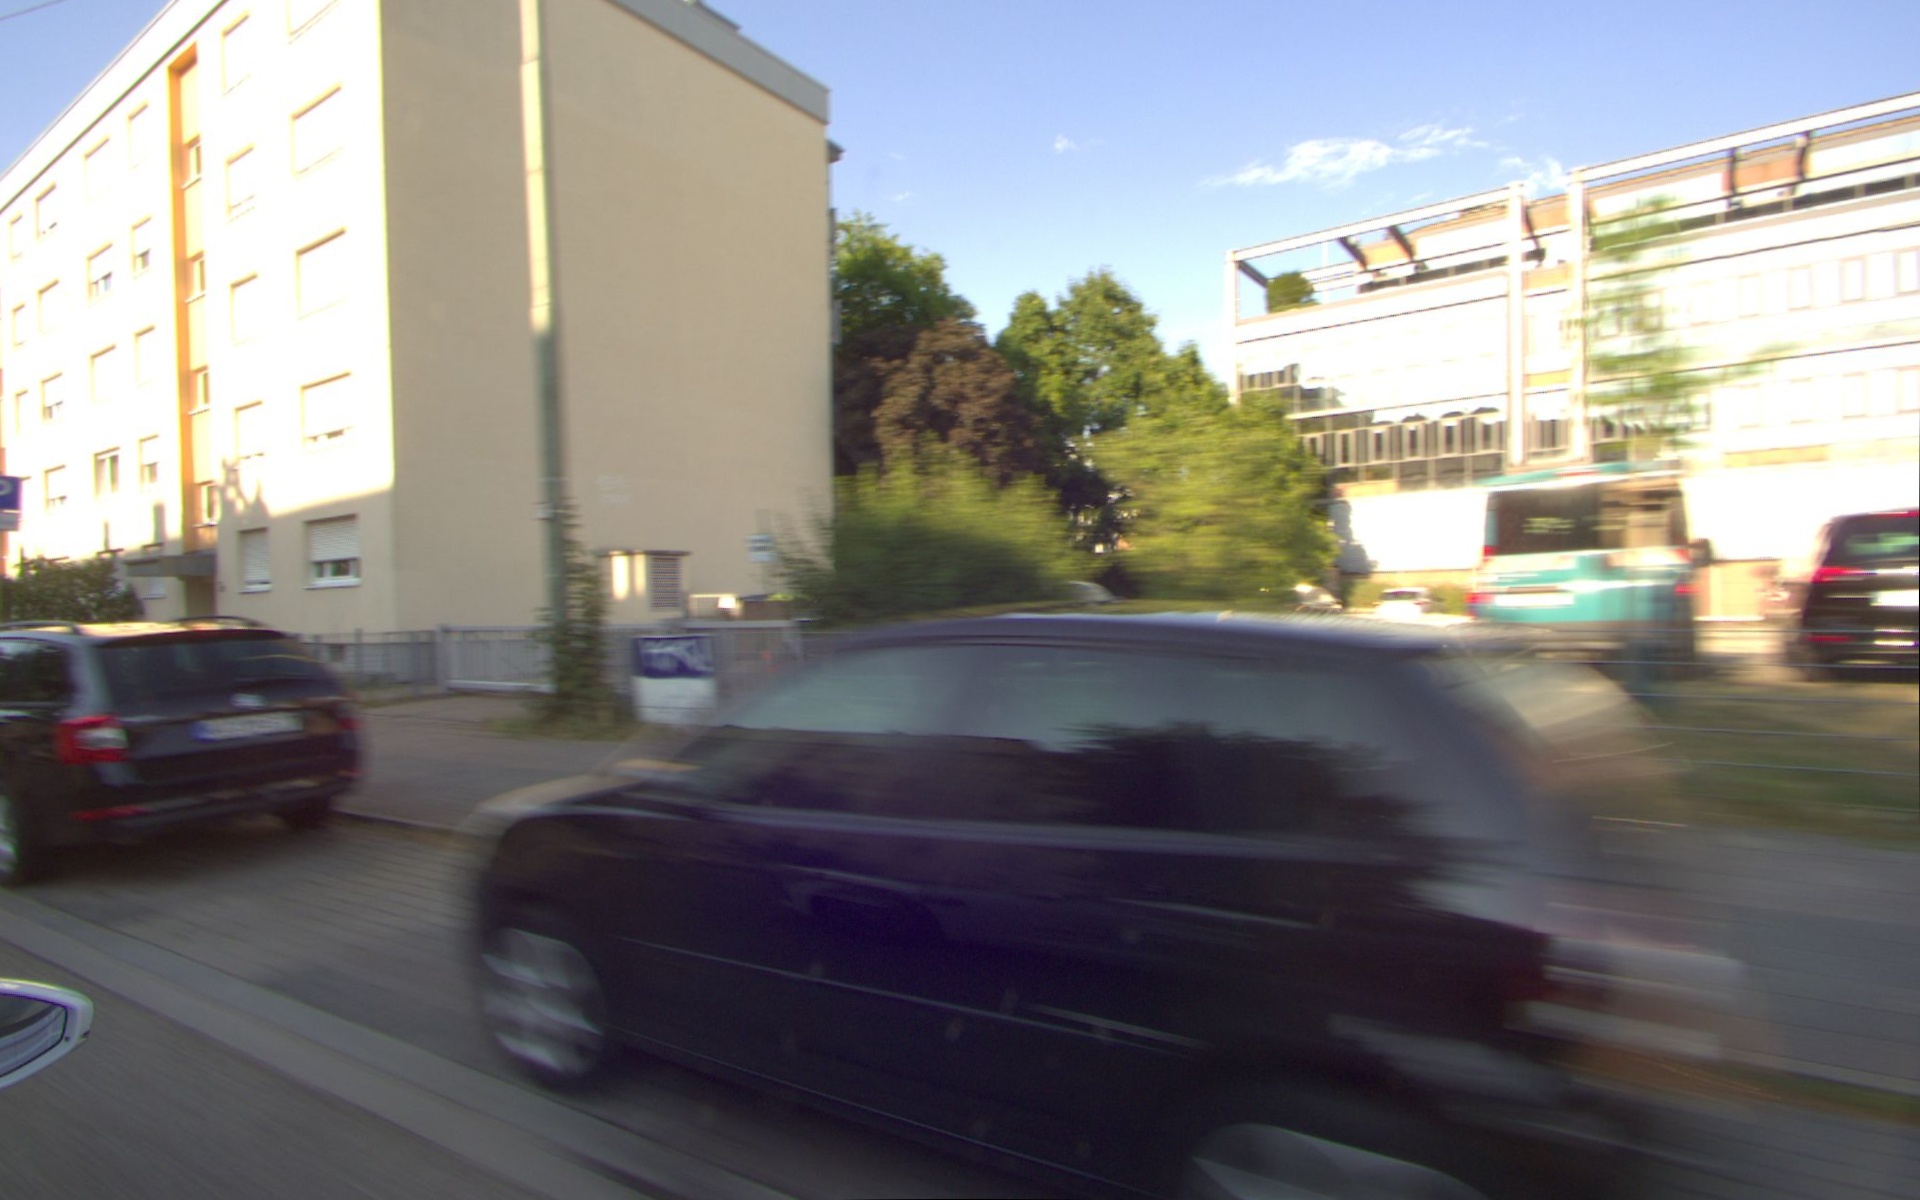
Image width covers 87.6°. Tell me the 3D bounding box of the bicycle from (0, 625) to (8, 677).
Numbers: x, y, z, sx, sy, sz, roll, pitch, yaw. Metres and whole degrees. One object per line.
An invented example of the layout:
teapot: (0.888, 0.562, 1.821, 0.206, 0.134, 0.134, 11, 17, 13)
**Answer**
bicycle: (-22.538, 1.186, 23.233, 1.223, 1.207, 0.332, -2, -2, 32)

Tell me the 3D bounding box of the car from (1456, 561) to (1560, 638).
car: (13.121, 0.073, 23.846, 1.709, 1.622, 4.466, -2, -3, 34)

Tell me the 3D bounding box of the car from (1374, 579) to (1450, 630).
car: (16.167, 0.230, 35.715, 1.709, 1.622, 4.466, -2, -3, 34)

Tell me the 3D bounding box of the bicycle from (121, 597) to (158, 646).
bicycle: (-20.767, 0.555, 25.341, 1.223, 1.207, 0.332, -2, -2, 32)

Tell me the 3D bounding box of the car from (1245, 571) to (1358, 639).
car: (9.241, 0.210, 26.884, 1.709, 1.622, 4.466, -2, -3, 34)

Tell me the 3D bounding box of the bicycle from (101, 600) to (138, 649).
bicycle: (-20.971, 0.626, 24.980, 1.223, 1.207, 0.332, -2, -2, 32)

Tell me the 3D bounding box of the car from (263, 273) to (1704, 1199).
car: (-0.330, 0.525, 3.436, 4.520, 1.802, 1.896, -2, -1, 35)

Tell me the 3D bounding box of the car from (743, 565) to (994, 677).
car: (-1.360, 0.299, 16.779, 1.709, 1.623, 4.463, -2, 0, 34)

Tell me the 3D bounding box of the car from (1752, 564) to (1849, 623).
car: (24.427, -0.125, 29.238, 1.709, 1.473, 4.466, -2, -3, 34)

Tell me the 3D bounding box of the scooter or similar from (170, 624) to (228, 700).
scooter or similar: (-12.486, 1.018, 16.417, 1.223, 1.207, 0.332, -2, -2, 32)

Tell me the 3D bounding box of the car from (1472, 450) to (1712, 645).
car: (7.228, -0.399, 11.591, 1.972, 1.816, 3.981, -2, -3, 32)

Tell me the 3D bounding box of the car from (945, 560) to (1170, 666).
car: (1.740, 0.288, 16.276, 1.709, 1.473, 4.466, -2, -3, 34)

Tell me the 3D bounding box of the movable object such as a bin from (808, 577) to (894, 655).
movable object such as a bin: (-2.553, 0.408, 23.459, 1.280, 1.737, 1.570, -2, -3, 41)

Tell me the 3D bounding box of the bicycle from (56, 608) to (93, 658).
bicycle: (-21.622, 0.819, 24.450, 1.223, 1.207, 0.332, -2, -2, 32)

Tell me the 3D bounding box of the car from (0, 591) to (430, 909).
car: (-6.145, 0.823, 7.106, 4.873, 1.582, 1.883, -2, 1, 30)

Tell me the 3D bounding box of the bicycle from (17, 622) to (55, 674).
bicycle: (-21.817, 1.126, 23.632, 1.223, 1.207, 0.332, -2, -2, 32)
